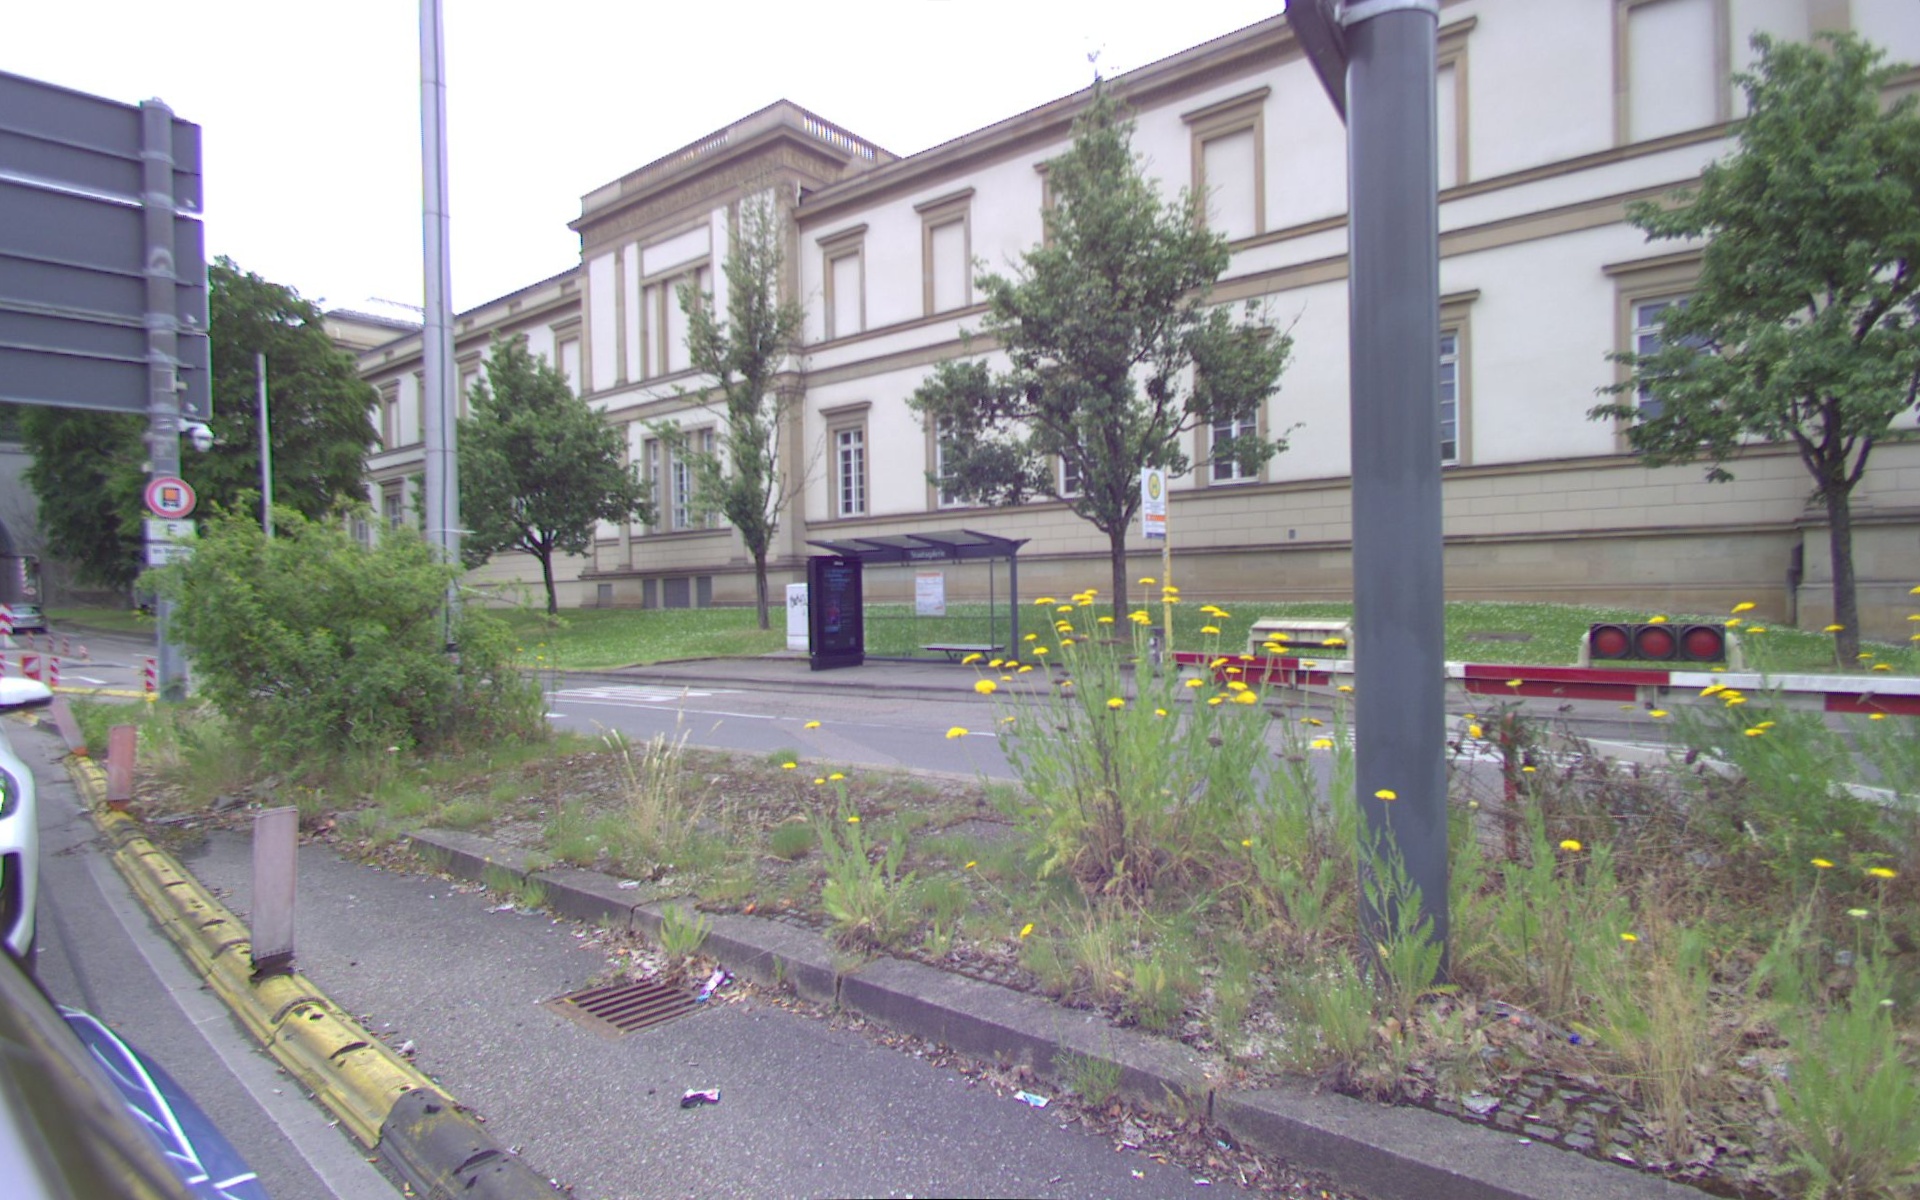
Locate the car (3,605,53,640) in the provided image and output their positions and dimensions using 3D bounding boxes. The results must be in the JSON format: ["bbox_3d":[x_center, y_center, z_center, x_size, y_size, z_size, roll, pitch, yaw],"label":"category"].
[{"bbox_3d":[-49.946,1.176,54.189,1.811,1.759,4.002,-1,0,-45],"label":"car"}]

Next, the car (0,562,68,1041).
[{"bbox_3d":[-5.191,0.713,4.062,3.668,1.637,1.962,-1,0,41],"label":"car"}]
